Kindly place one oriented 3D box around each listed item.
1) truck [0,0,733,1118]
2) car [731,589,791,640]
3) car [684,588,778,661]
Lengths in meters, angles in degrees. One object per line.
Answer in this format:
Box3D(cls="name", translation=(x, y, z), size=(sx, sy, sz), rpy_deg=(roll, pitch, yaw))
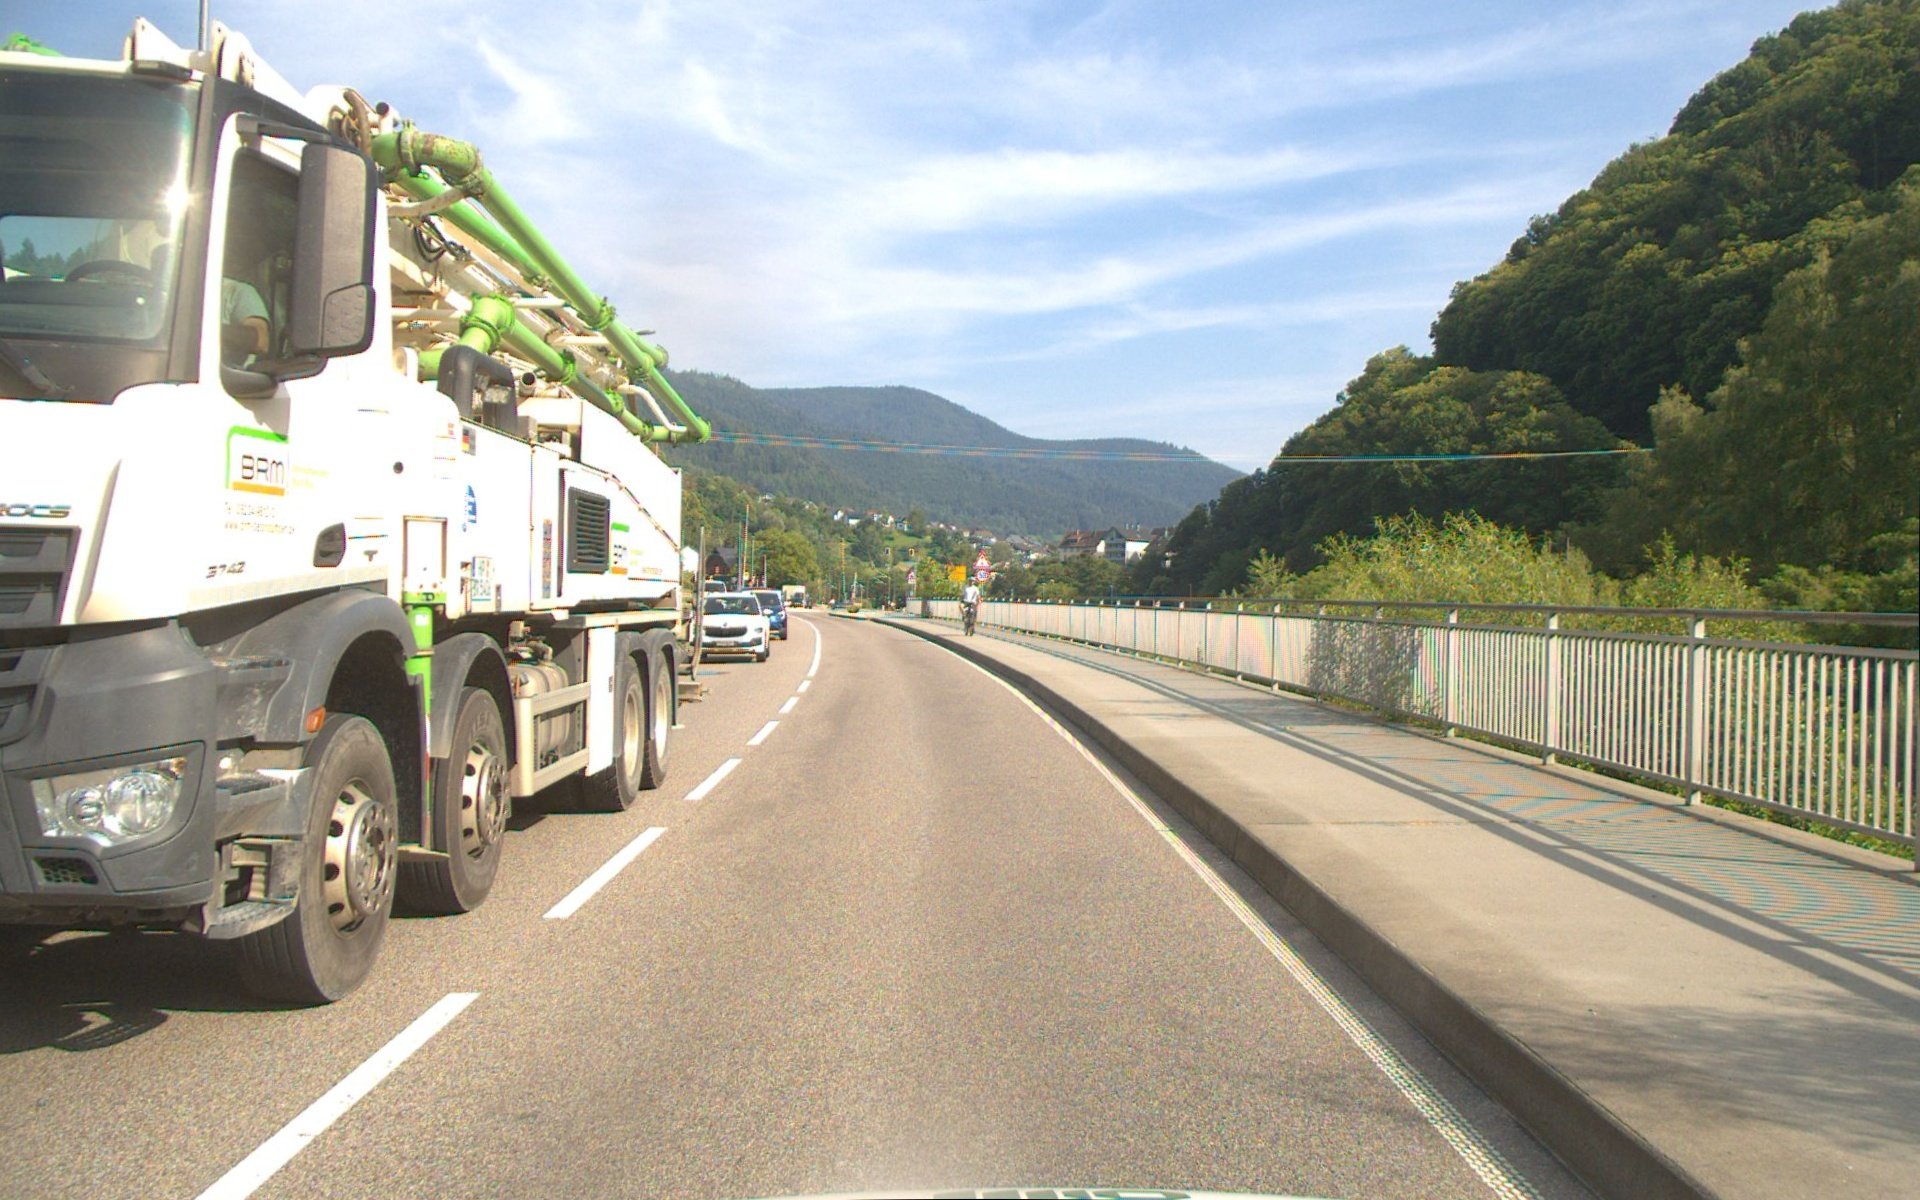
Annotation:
Box3D(cls="truck", translation=(-3.398, -0.533, 10.315), size=(2.525, 4.000, 11.303), rpy_deg=(0, 0, -1))
Box3D(cls="car", translation=(-6.417, 0.433, 53.627), size=(1.710, 1.553, 3.997), rpy_deg=(1, 0, -4))
Box3D(cls="car", translation=(-5.161, 0.524, 37.718), size=(1.714, 1.530, 4.188), rpy_deg=(1, 0, -3))
